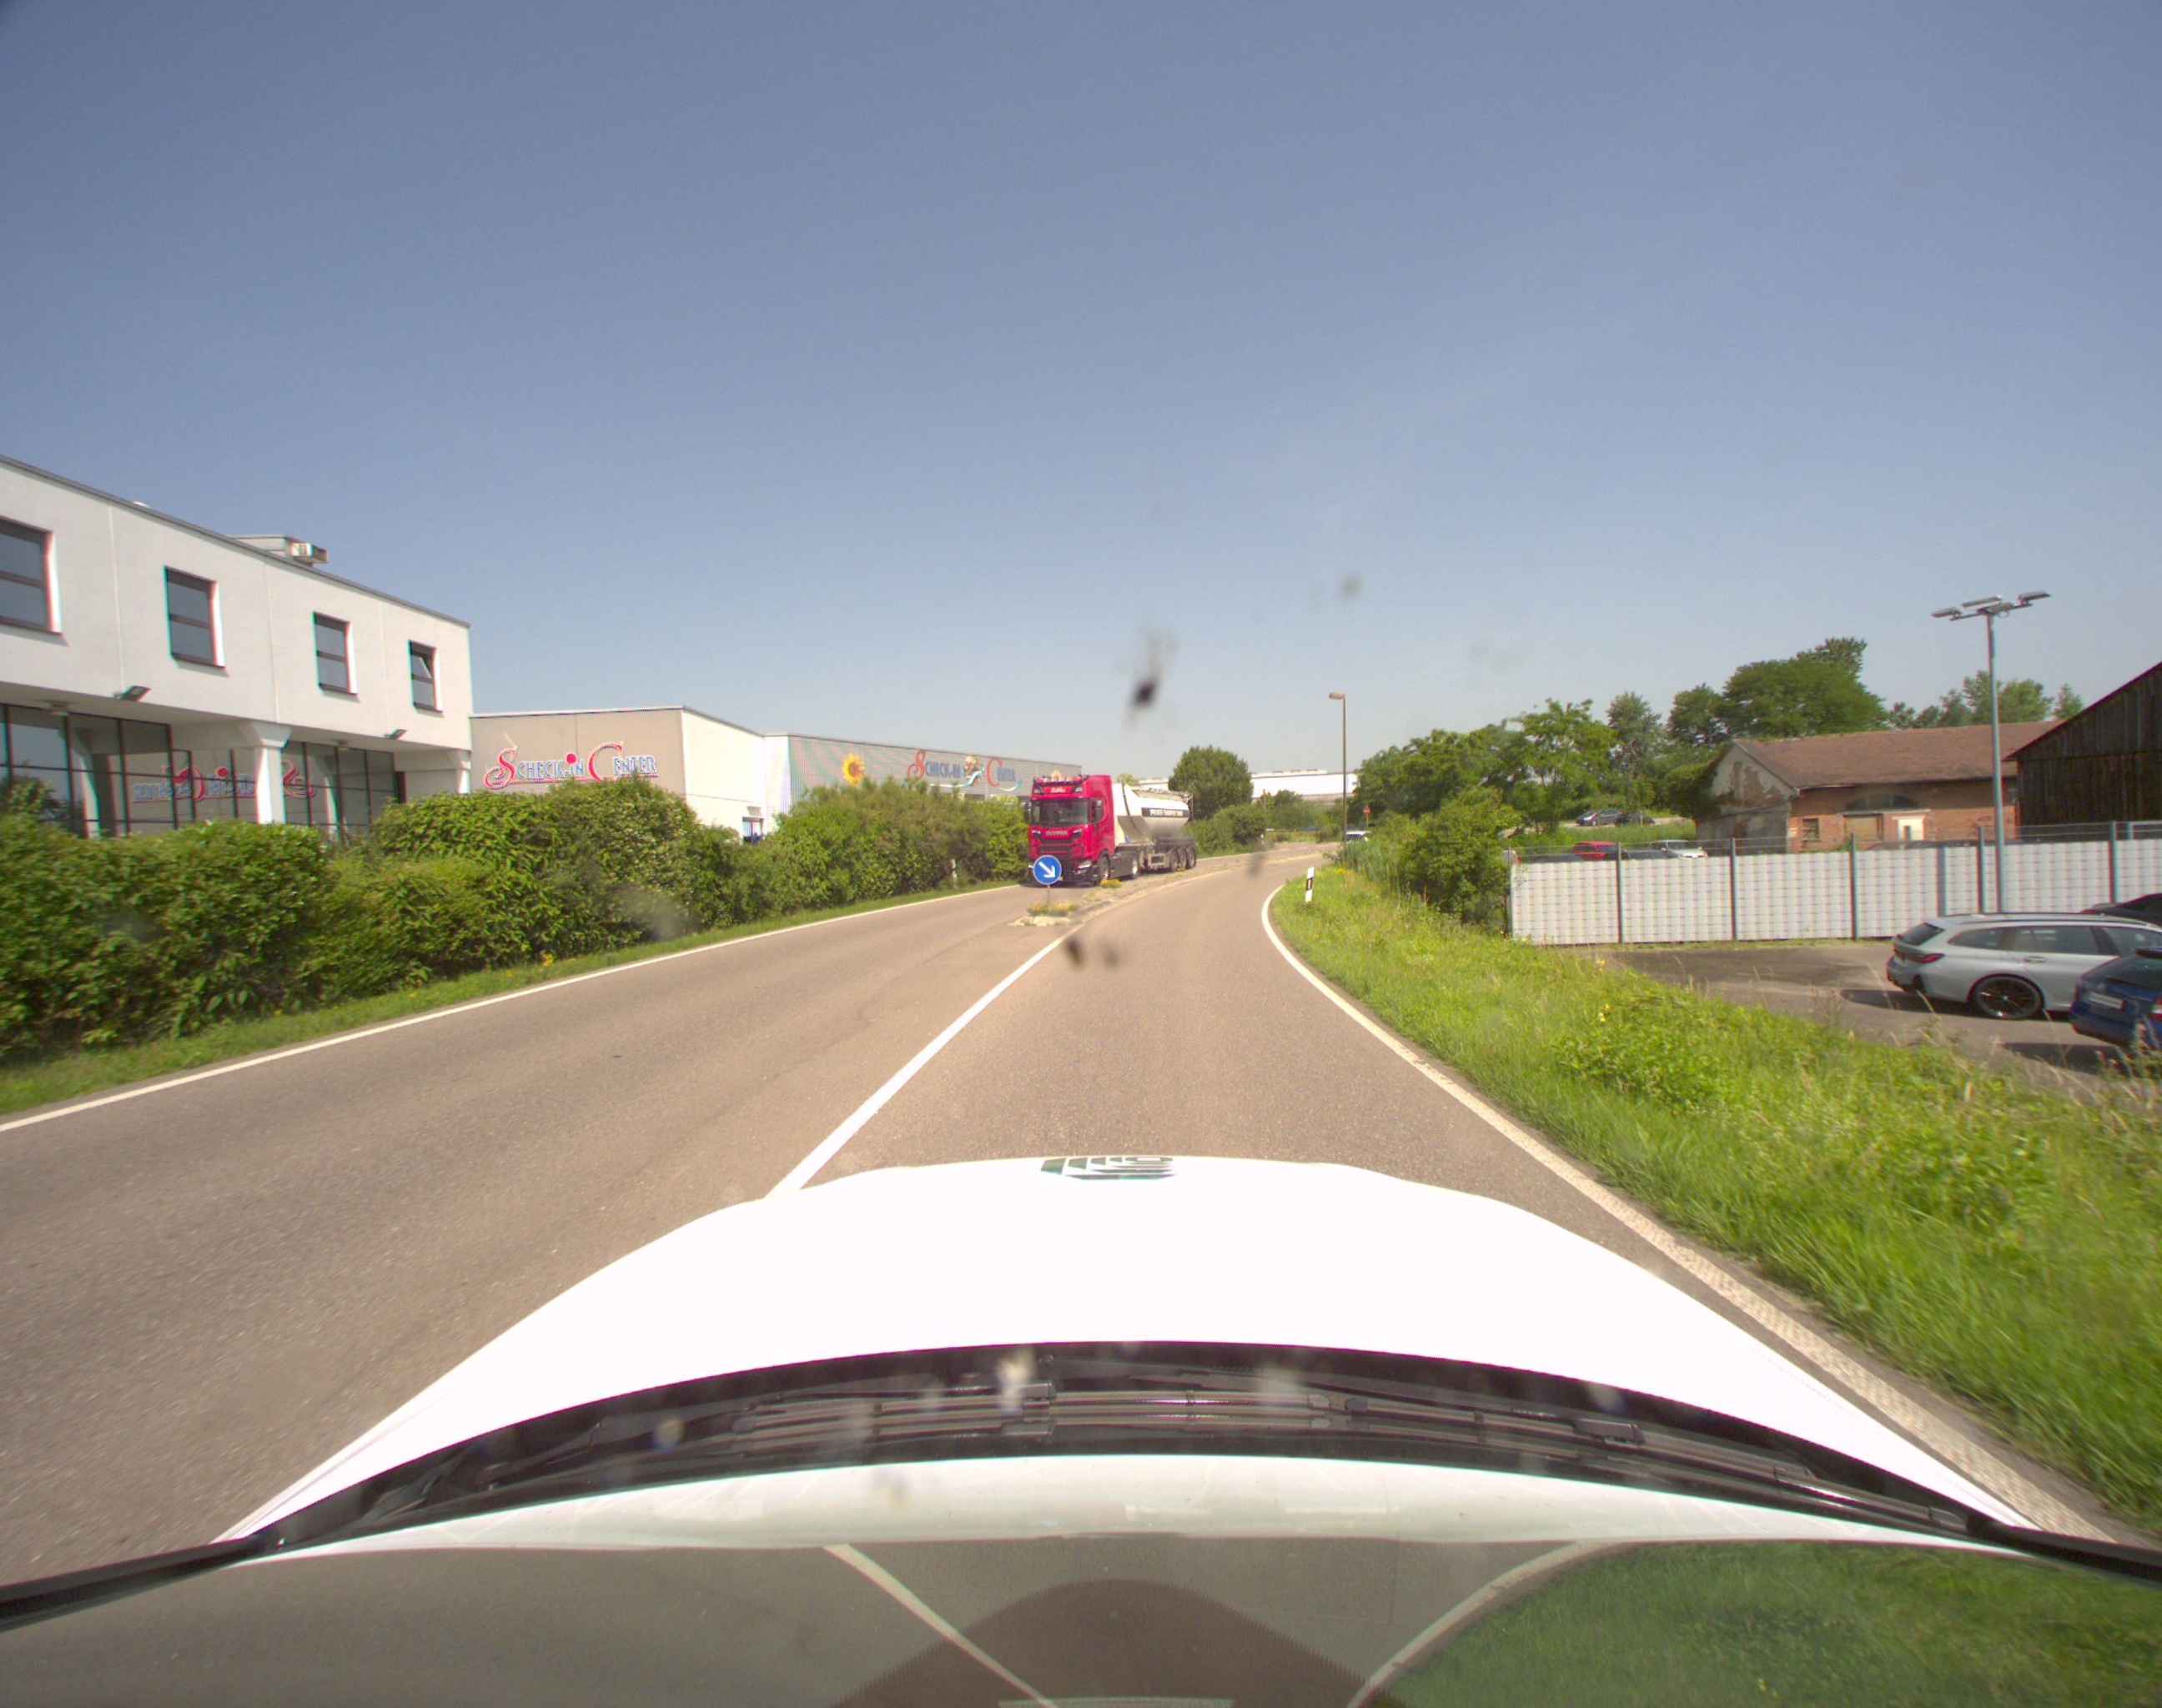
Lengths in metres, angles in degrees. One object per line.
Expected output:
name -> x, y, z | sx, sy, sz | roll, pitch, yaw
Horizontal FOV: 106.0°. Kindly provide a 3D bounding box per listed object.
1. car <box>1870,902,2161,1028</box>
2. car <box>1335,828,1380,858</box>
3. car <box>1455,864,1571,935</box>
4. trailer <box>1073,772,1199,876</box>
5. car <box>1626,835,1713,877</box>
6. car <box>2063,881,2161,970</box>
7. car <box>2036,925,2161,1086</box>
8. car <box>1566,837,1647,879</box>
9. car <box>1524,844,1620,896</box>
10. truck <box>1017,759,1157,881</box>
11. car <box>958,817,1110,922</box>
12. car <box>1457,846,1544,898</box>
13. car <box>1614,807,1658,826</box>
car -> 14.750, 1.571, 11.957 | 4.316, 1.502, 1.855 | -1, 1, 37
car -> 17.456, -0.661, 51.312 | 1.764, 1.603, 3.917 | 5, 1, 31
car -> 13.825, 1.389, 26.363 | 1.983, 2.013, 4.008 | -2, 0, 7
trailer -> 2.720, -1.186, 36.373 | 2.854, 4.030, 8.743 | -2, 0, 23
car -> 30.689, 0.094, 42.628 | 1.983, 2.013, 4.008 | -2, 0, 7
car -> 20.555, 1.335, 14.425 | 1.835, 1.534, 4.666 | -2, 0, 19
car -> 13.933, 1.635, 8.633 | 4.586, 1.498, 1.867 | -2, 2, 25
car -> 27.386, 0.218, 42.571 | 1.983, 2.013, 4.008 | -2, 0, 7
car -> 20.475, 0.650, 34.170 | 1.983, 2.013, 4.008 | -2, 0, 7
truck -> 0.449, -1.128, 30.771 | 2.856, 4.030, 6.758 | -2, 0, 22
car -> -0.881, 0.316, 17.901 | 1.978, 2.013, 4.018 | -2, 0, 17
car -> 17.583, 0.736, 34.382 | 1.983, 2.013, 4.008 | -2, 0, 7
car -> 51.701, -3.468, 75.907 | 3.800, 1.603, 1.771 | 0, -1, -27
